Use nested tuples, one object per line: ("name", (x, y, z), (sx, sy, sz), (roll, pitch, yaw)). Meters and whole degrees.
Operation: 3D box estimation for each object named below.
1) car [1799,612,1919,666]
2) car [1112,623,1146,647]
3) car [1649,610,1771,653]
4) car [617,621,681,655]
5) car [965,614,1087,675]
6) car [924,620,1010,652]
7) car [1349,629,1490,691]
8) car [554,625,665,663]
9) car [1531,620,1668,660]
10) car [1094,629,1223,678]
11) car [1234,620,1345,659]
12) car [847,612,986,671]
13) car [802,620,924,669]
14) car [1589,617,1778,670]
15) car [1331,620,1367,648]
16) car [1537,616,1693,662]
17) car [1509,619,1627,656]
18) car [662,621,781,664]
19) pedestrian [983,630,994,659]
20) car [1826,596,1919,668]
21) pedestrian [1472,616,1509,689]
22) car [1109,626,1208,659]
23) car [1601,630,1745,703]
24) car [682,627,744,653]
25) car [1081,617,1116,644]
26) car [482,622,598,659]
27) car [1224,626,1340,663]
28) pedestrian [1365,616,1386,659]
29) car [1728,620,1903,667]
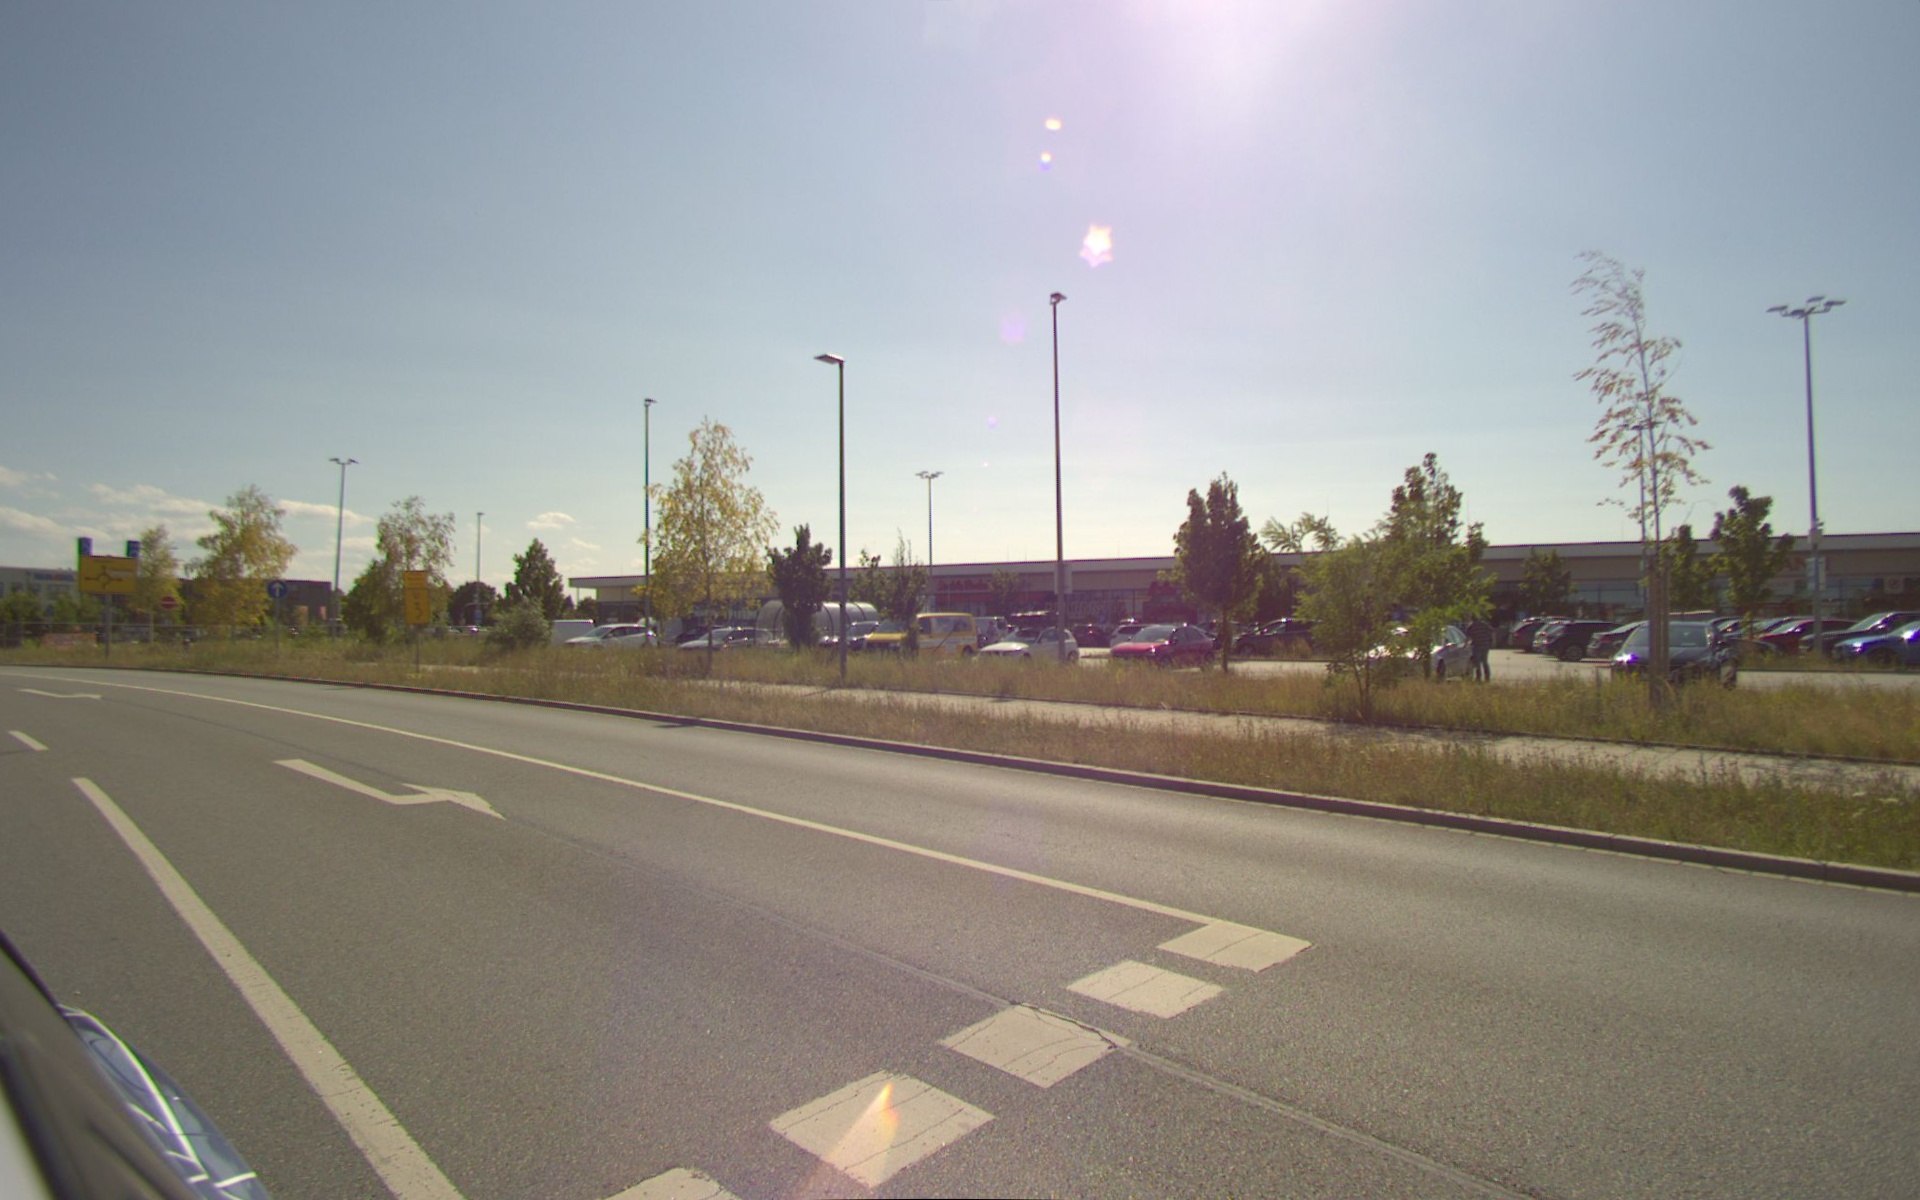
("car", (28.313, 1.167, 30.474), (4.324, 1.593, 1.705), (-1, -2, 22))
("car", (11.189, 2.321, 66.916), (1.702, 1.530, 4.331), (-1, -2, 16))
("car", (35.832, 1.532, 48.489), (4.324, 1.974, 1.705), (-1, -2, 22))
("car", (-25.125, 3.066, 81.928), (1.925, 2.607, 5.681), (-1, -2, 20))
("car", (2.212, 1.425, 33.164), (1.931, 1.875, 4.101), (-2, -3, 40))
("car", (0.364, 2.026, 56.888), (4.557, 1.754, 1.703), (-1, -2, 25))
("car", (11.100, 1.391, 24.339), (1.936, 1.358, 4.099), (-2, -3, 42))
("car", (-16.065, 1.996, 46.624), (1.995, 1.685, 4.551), (-2, -2, 34))
("car", (25.572, 1.611, 40.652), (4.324, 1.556, 1.705), (-1, -2, 22))
("car", (5.933, 1.542, 30.019), (1.936, 1.358, 4.099), (-2, -3, 42))
("car", (13.837, 1.649, 42.545), (4.324, 1.561, 1.705), (-1, -2, 22))
("car", (-1.457, 1.487, 36.766), (1.996, 1.980, 5.630), (-2, -2, 36))
("car", (-3.544, 1.630, 37.658), (1.878, 1.685, 4.725), (-2, -2, 36))
("car", (21.836, 1.315, 30.768), (4.324, 1.528, 1.705), (-1, -2, 22))
("car", (24.029, 2.091, 62.568), (1.702, 1.646, 4.331), (-1, -2, 16))
("car", (23.124, 1.391, 35.922), (4.324, 1.573, 1.705), (-1, -2, 22))
("car", (27.529, 1.697, 45.969), (4.324, 1.614, 1.705), (-1, -2, 22))
("car", (-9.821, 1.736, 42.031), (1.996, 1.685, 4.660), (-2, -2, 35))
("pedestrian", (1.470, 2.300, 52.524), (0.411, 1.475, 0.506), (-1, -2, 24))
("car", (27.635, 0.889, 28.316), (4.800, 2.001, 1.705), (-1, -2, 22))
("pedestrian", (12.580, 1.229, 23.995), (0.578, 1.708, 0.756), (-2, -2, 43))
("car", (9.371, 2.002, 47.763), (4.328, 1.538, 1.703), (-1, -2, 24))
("car", (14.722, 1.294, 20.821), (1.936, 1.358, 4.099), (-2, -3, 42))
("car", (-15.525, 2.516, 63.823), (1.832, 1.564, 3.969), (-1, -2, 23))
("car", (9.499, 2.087, 69.207), (1.702, 1.821, 4.331), (-1, -2, 16))
("car", (-20.403, 1.962, 49.432), (1.991, 1.685, 5.146), (-1, -2, 29))
("car", (12.840, 1.769, 40.334), (4.324, 1.428, 1.705), (-1, -2, 22))
("pedestrian", (17.736, 1.599, 43.189), (0.776, 1.838, 0.566), (-1, -2, 23))
("car", (30.143, 1.524, 35.818), (4.324, 1.588, 1.705), (-1, -2, 22))
